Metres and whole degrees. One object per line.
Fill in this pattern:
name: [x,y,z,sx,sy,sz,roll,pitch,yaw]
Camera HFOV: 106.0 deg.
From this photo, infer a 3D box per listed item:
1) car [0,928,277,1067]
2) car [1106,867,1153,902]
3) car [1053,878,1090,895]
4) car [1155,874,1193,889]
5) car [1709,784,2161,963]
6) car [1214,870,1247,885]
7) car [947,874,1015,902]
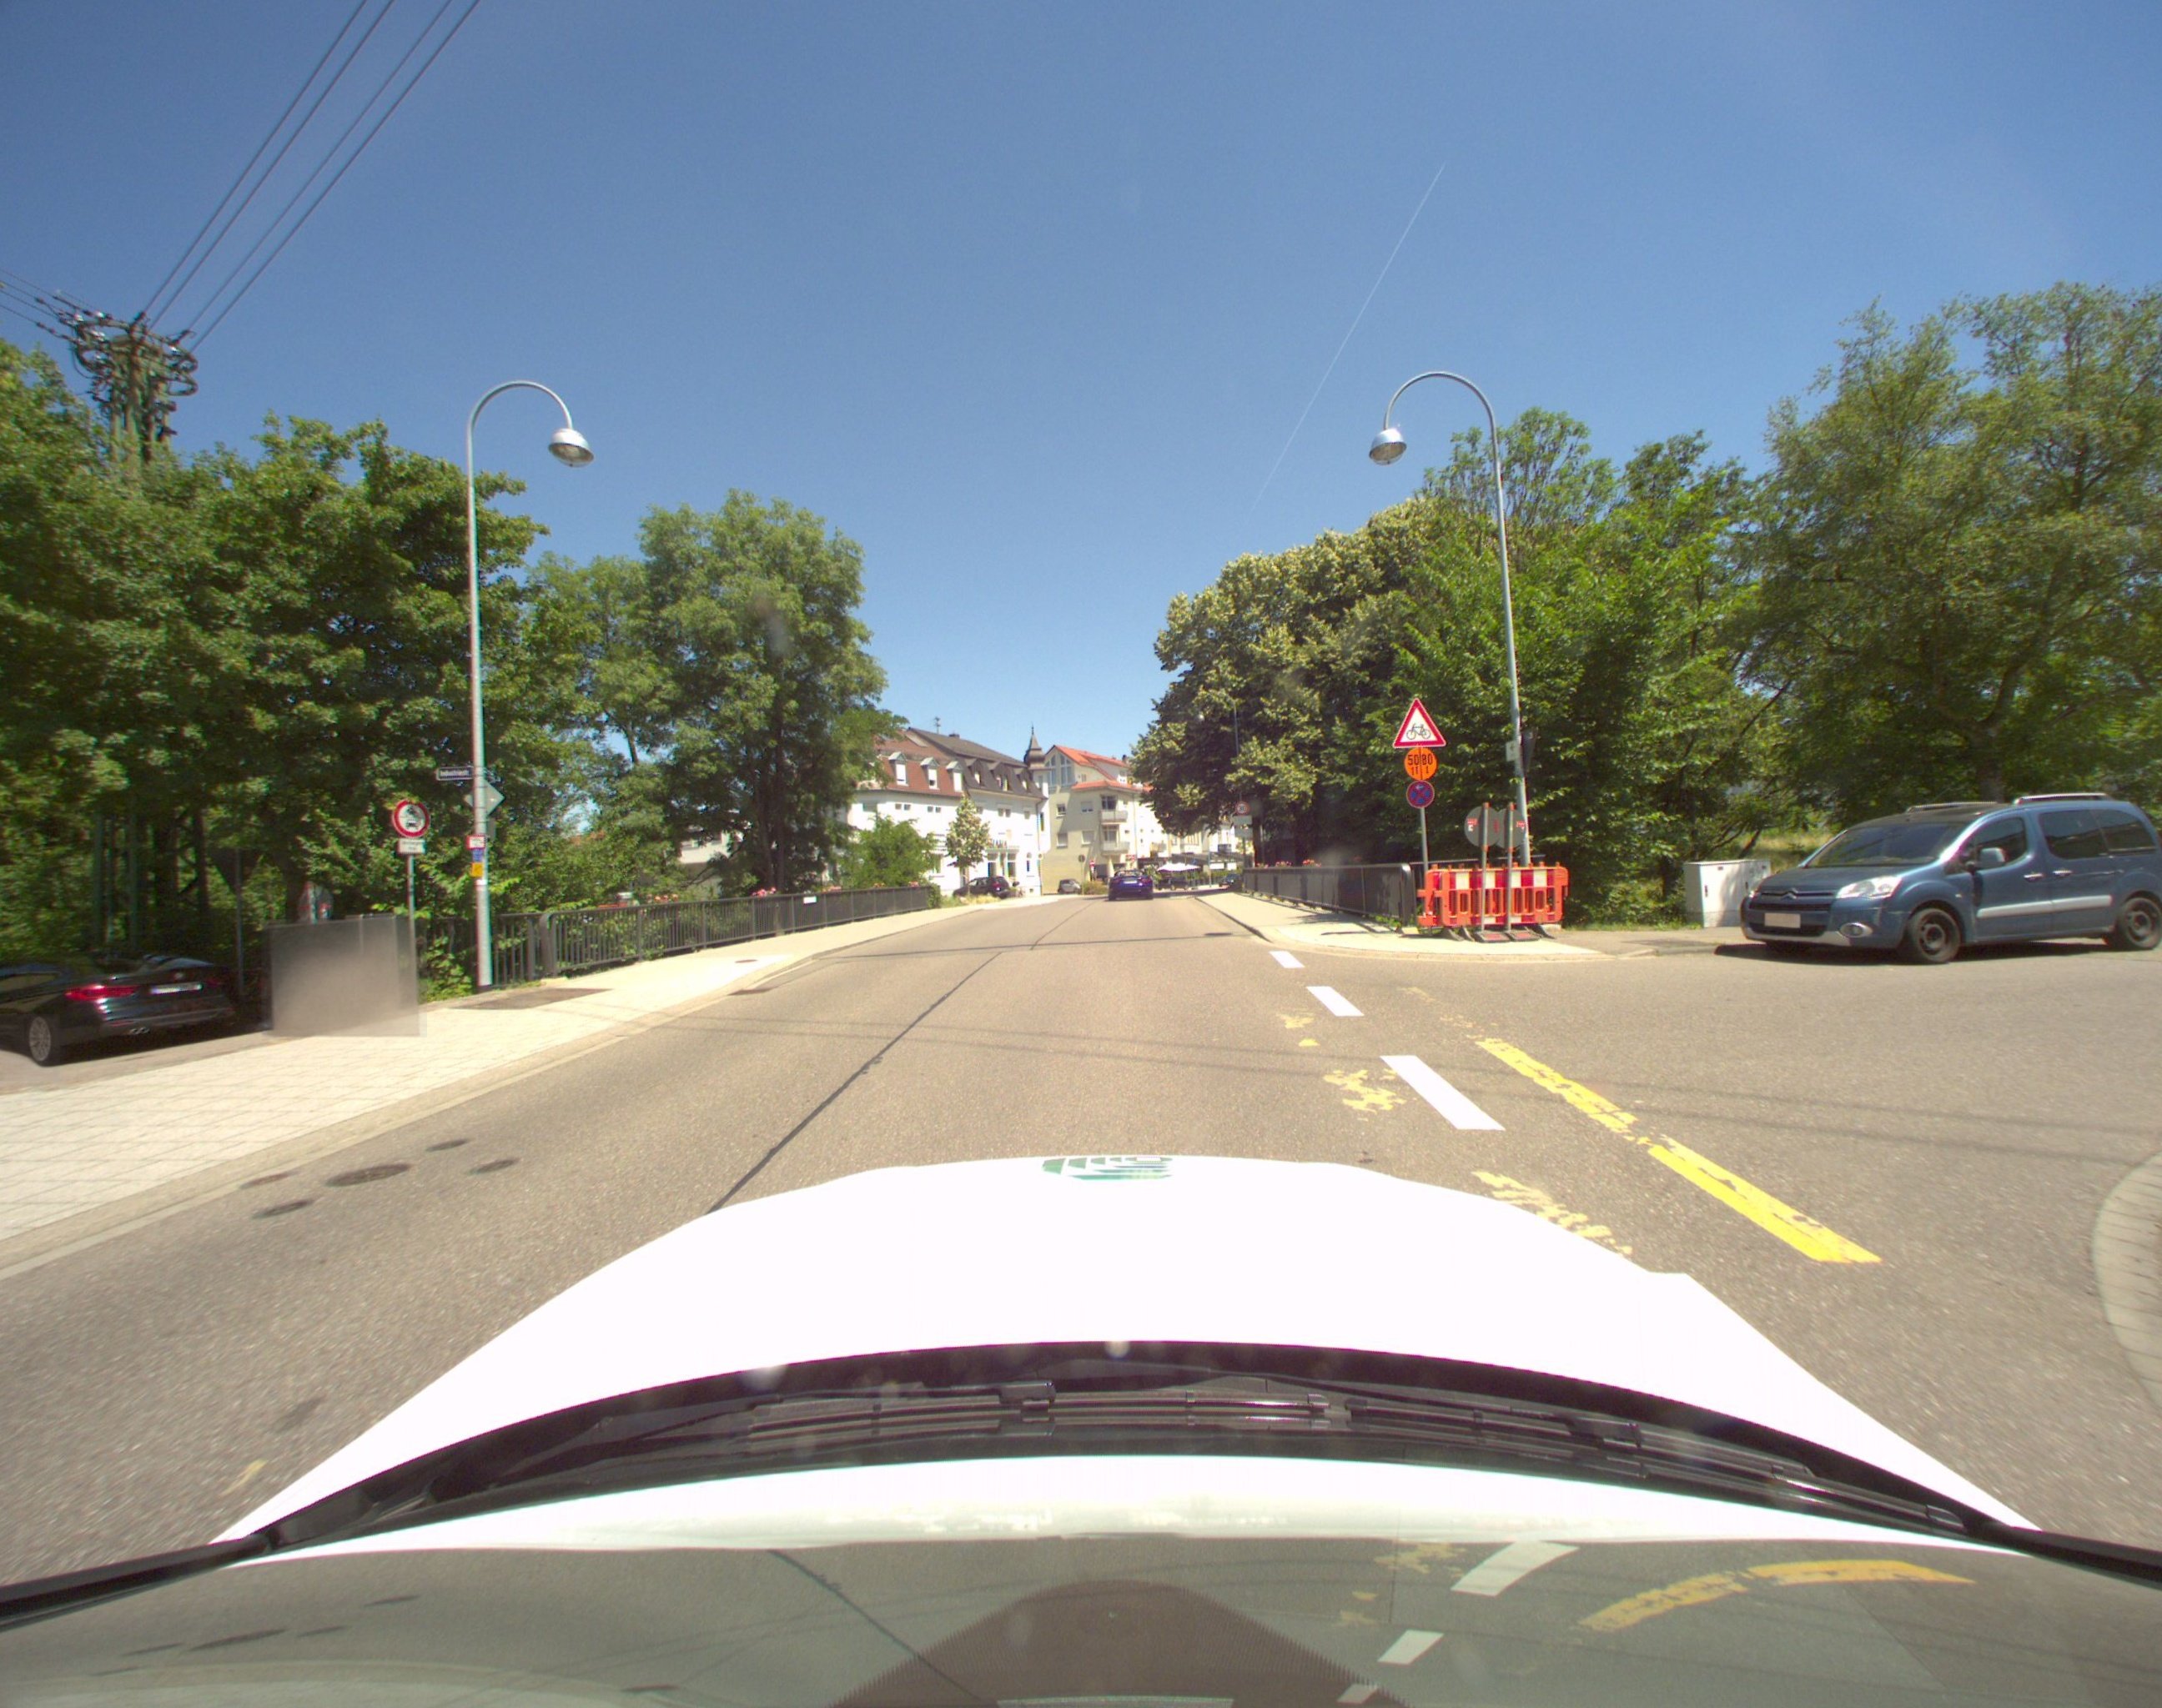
car: [-14.483,2.119,11.455,4.505,1.419,2.003,-8,-1,6]
car: [2.128,1.281,35.414,1.862,1.342,4.600,-2,-1,3]
car: [-0.974,3.253,82.050,3.233,1.458,1.701,-4,-2,24]
car: [9.182,2.678,80.159,1.696,1.461,4.155,-2,-2,39]
car: [10.352,0.209,9.862,4.333,1.839,1.746,-2,-2,-7]
car: [16.313,2.586,88.650,1.816,1.429,4.813,-3,-1,32]
car: [-6.907,2.341,56.334,4.142,1.662,1.982,-4,-2,24]
